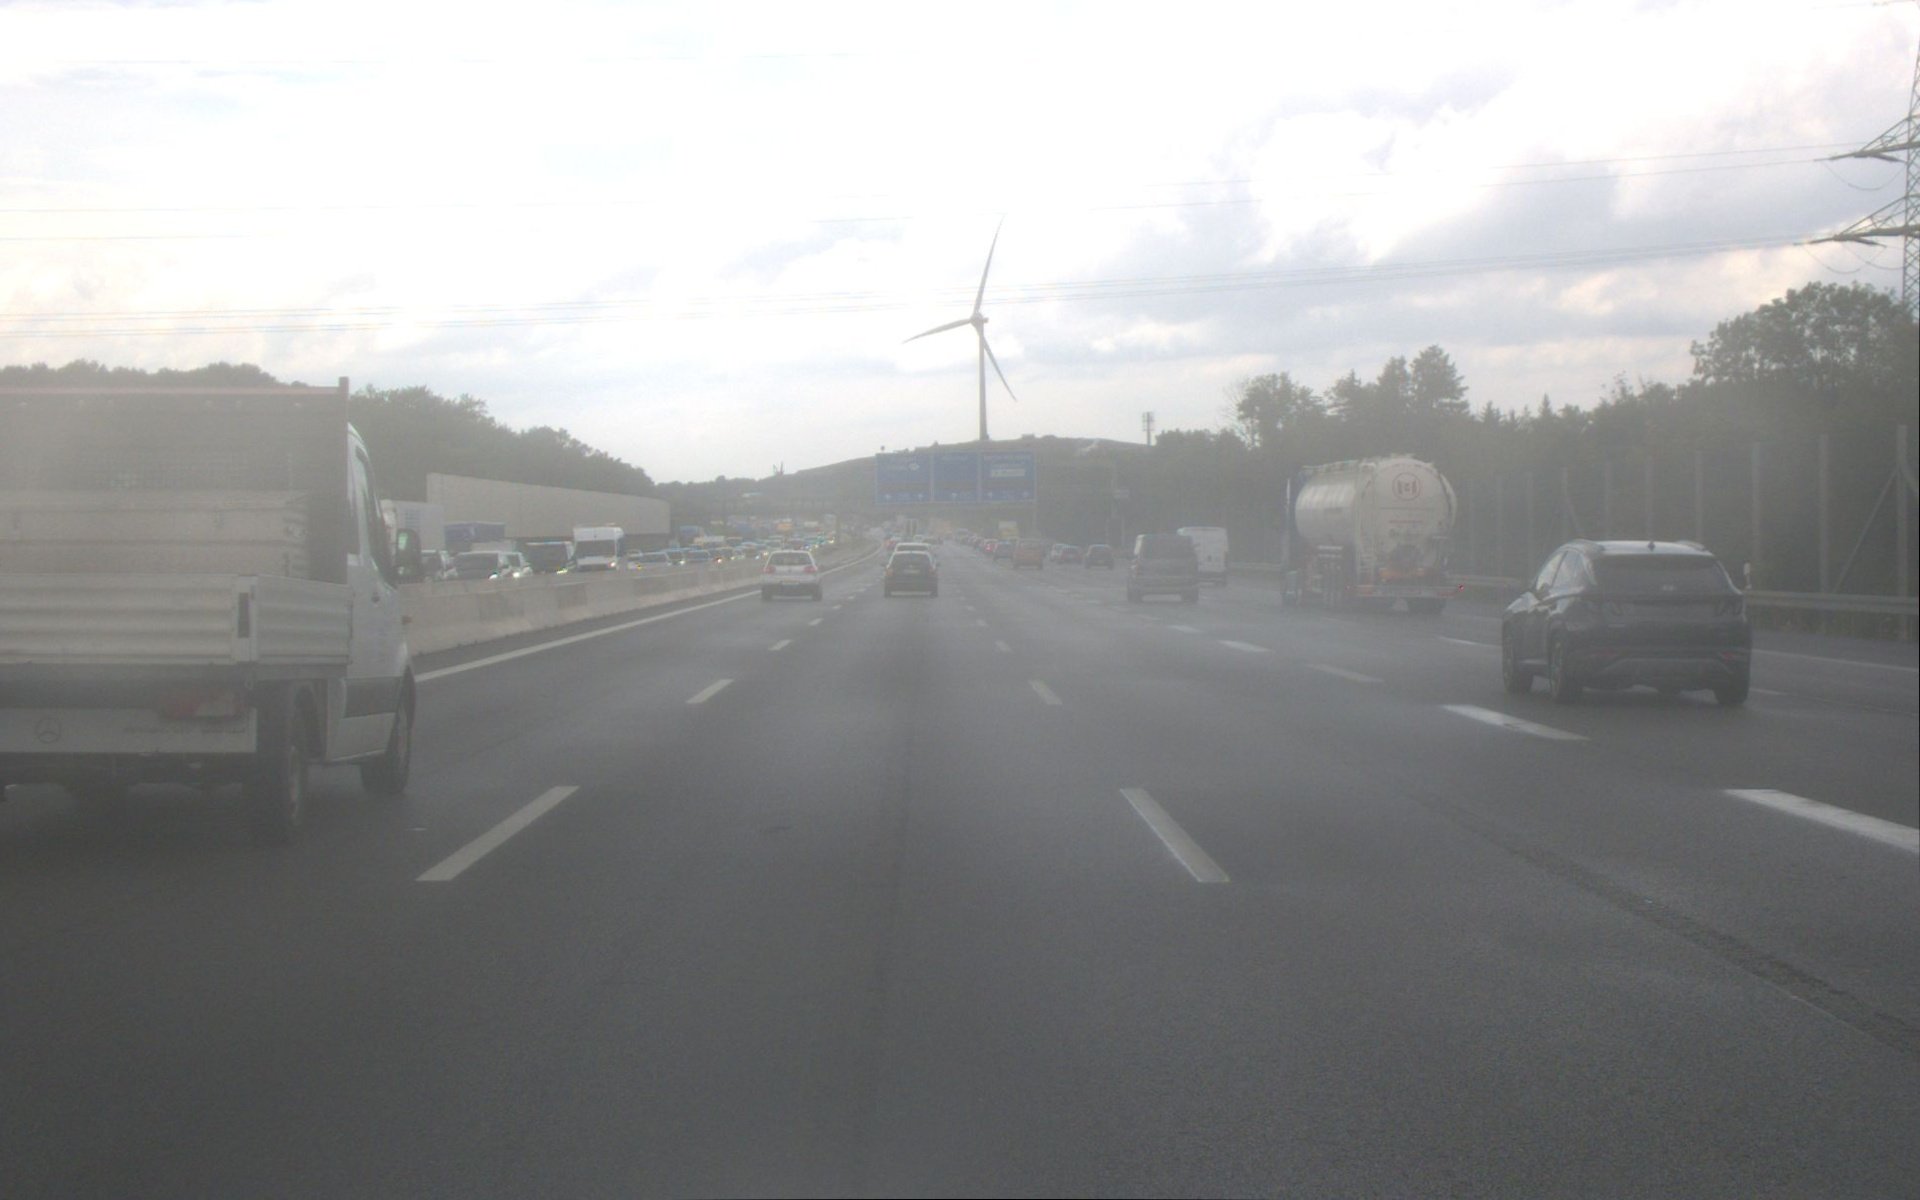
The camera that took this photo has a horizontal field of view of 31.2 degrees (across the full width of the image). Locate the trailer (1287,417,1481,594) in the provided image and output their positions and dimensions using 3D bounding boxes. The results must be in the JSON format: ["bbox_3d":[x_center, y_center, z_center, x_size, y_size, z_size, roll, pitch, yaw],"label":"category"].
[{"bbox_3d":[10.635,-2.333,87.658,3.332,4.161,11.839,1,1,0],"label":"trailer"}]

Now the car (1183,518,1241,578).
[{"bbox_3d":[10.553,-2.184,144.214,2.045,2.489,4.000,0,1,-1],"label":"car"}]

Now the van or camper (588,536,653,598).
[{"bbox_3d":[-15.053,-1.497,152.761,2.178,2.695,7.521,0,1,0],"label":"van or camper"}]

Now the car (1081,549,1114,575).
[{"bbox_3d":[9.356,-2.561,233.773,1.993,1.744,4.497,1,1,-1],"label":"car"}]

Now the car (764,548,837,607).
[{"bbox_3d":[-4.763,-0.691,102.995,2.045,1.693,4.000,0,1,-1],"label":"car"}]

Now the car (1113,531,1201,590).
[{"bbox_3d":[5.743,-1.178,100.580,2.097,1.693,4.001,0,1,-4],"label":"car"}]

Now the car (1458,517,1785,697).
[{"bbox_3d":[6.622,0.020,35.023,2.045,1.693,5.008,0,1,-4],"label":"car"}]

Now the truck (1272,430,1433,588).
[{"bbox_3d":[10.588,-2.427,93.542,3.333,4.066,8.272,1,1,0],"label":"truck"}]

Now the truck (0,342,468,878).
[{"bbox_3d":[-4.360,-0.034,19.158,2.353,2.400,7.359,1,1,-2],"label":"truck"}]

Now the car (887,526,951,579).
[{"bbox_3d":[-1.315,-1.567,111.840,2.045,1.693,4.000,0,1,0],"label":"car"}]

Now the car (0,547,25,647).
[{"bbox_3d":[-14.993,-0.039,49.477,1.764,1.479,4.972,0,0,-1],"label":"car"}]
